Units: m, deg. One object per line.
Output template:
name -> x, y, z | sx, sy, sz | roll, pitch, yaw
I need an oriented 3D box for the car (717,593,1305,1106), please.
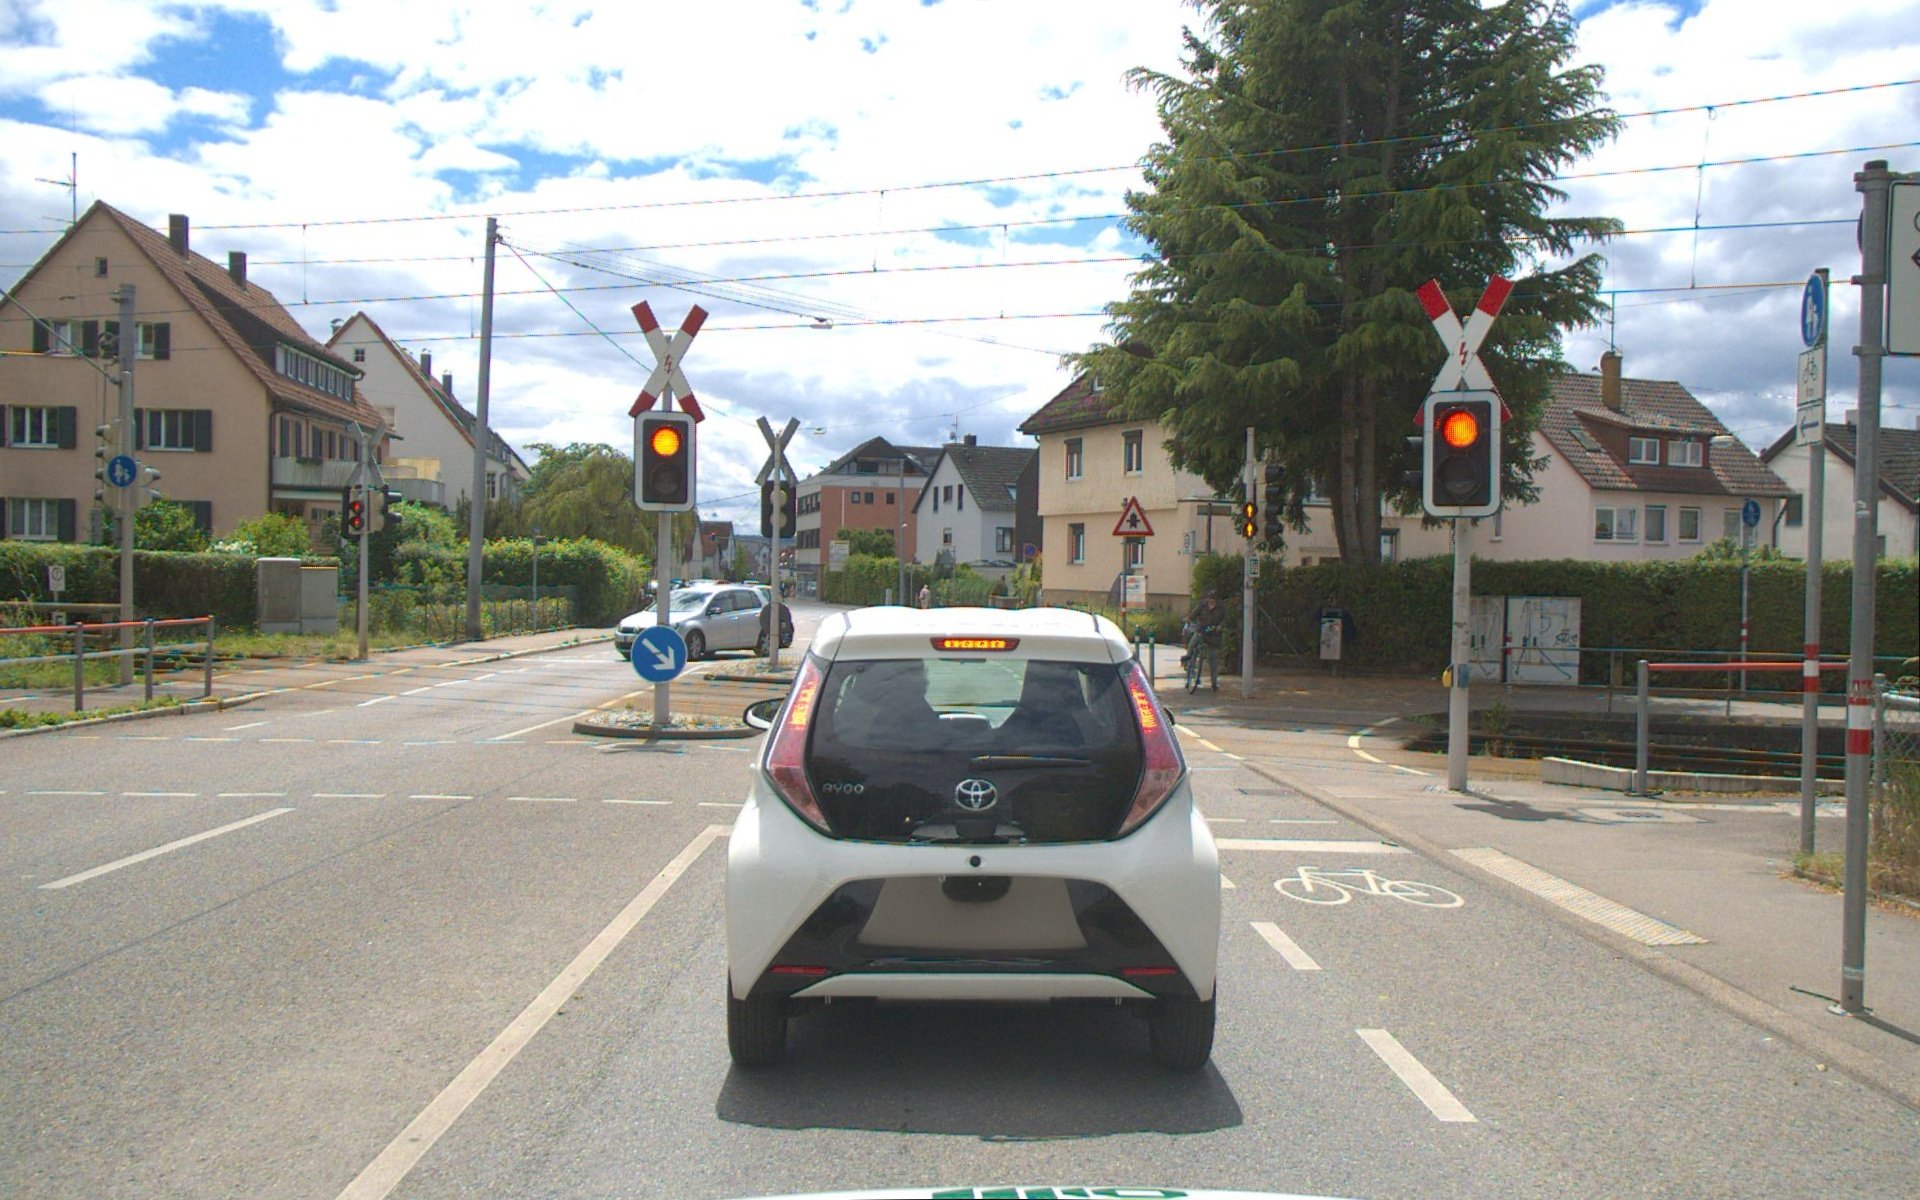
car -> 0.032, 0.733, 6.692 | 1.687, 1.467, 3.705 | 2, 0, -4

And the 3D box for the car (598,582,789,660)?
car -> -5.495, 0.435, 34.571 | 1.868, 1.466, 4.093 | 2, 0, 27

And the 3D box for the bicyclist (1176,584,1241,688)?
bicyclist -> 3.945, 0.563, 26.291 | 0.825, 1.580, 0.755 | -2, 3, -7

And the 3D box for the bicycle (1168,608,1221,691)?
bicycle -> 3.725, 0.770, 26.352 | 0.448, 1.192, 1.477 | -2, 3, -6

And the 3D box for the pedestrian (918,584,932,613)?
pedestrian -> -1.919, -0.073, 91.399 | 0.711, 1.604, 0.803 | 2, 0, -1
